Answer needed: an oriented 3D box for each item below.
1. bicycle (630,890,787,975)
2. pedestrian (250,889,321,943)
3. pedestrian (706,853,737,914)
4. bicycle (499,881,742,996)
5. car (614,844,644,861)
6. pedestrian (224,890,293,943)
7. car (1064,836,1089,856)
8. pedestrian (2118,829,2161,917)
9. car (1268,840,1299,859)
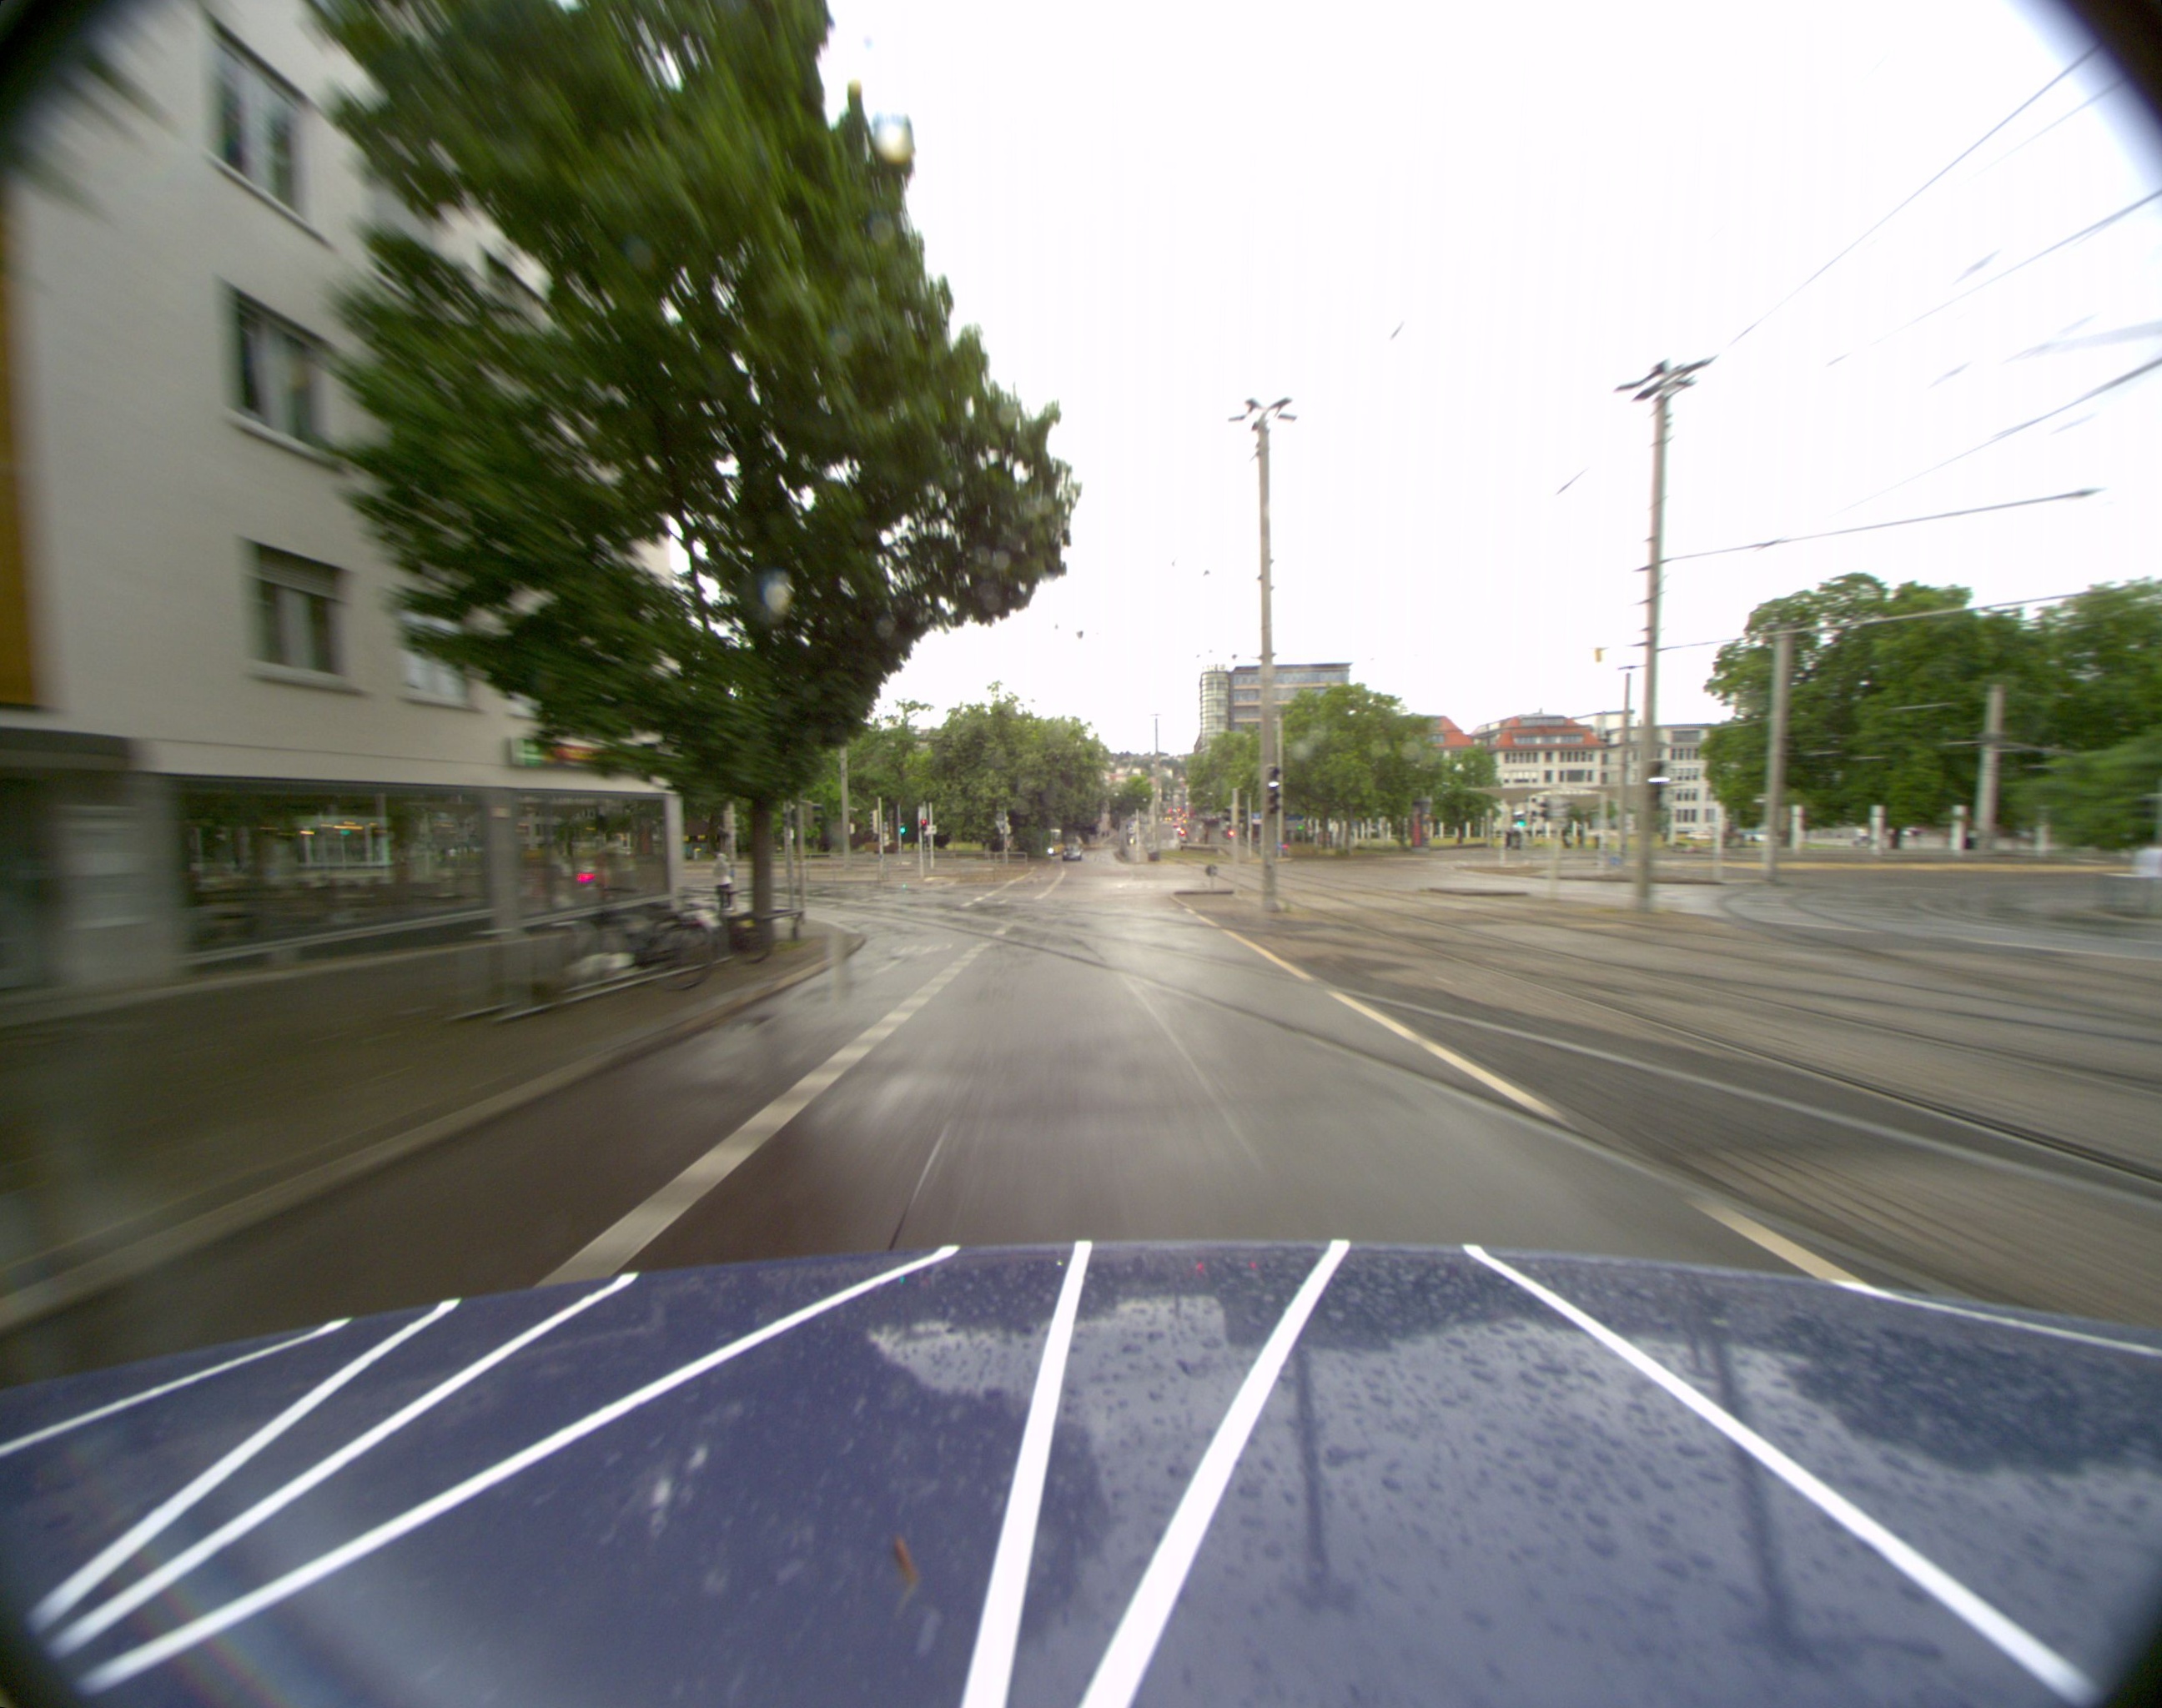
[{"bbox_3d":[-5.046,1.057,10.343,1.820,1.085,0.649,-1,0,5],"label":"bicycle"},{"bbox_3d":[-18.879,1.464,18.055,0.635,1.184,0.933,-1,2,5],"label":"pedestrian"},{"bbox_3d":[-10.374,0.837,21.926,0.703,1.703,0.529,1,3,43],"label":"pedestrian"},{"bbox_3d":[-5.076,0.920,8.434,2.320,1.168,0.649,-1,3,5],"label":"bicycle"},{"bbox_3d":[-40.888,-0.155,68.815,1.704,1.440,3.533,-2,2,-21],"label":"car"},{"bbox_3d":[-19.574,1.475,18.108,0.568,1.184,0.918,-1,2,5],"label":"pedestrian"},{"bbox_3d":[-0.410,-0.746,69.391,1.998,1.696,3.999,-1,2,3],"label":"car"},{"bbox_3d":[23.824,0.411,16.920,0.696,1.903,0.720,1,4,43],"label":"pedestrian"},{"bbox_3d":[18.170,-0.446,68.328,2.103,1.497,4.732,-1,2,7],"label":"car"}]
